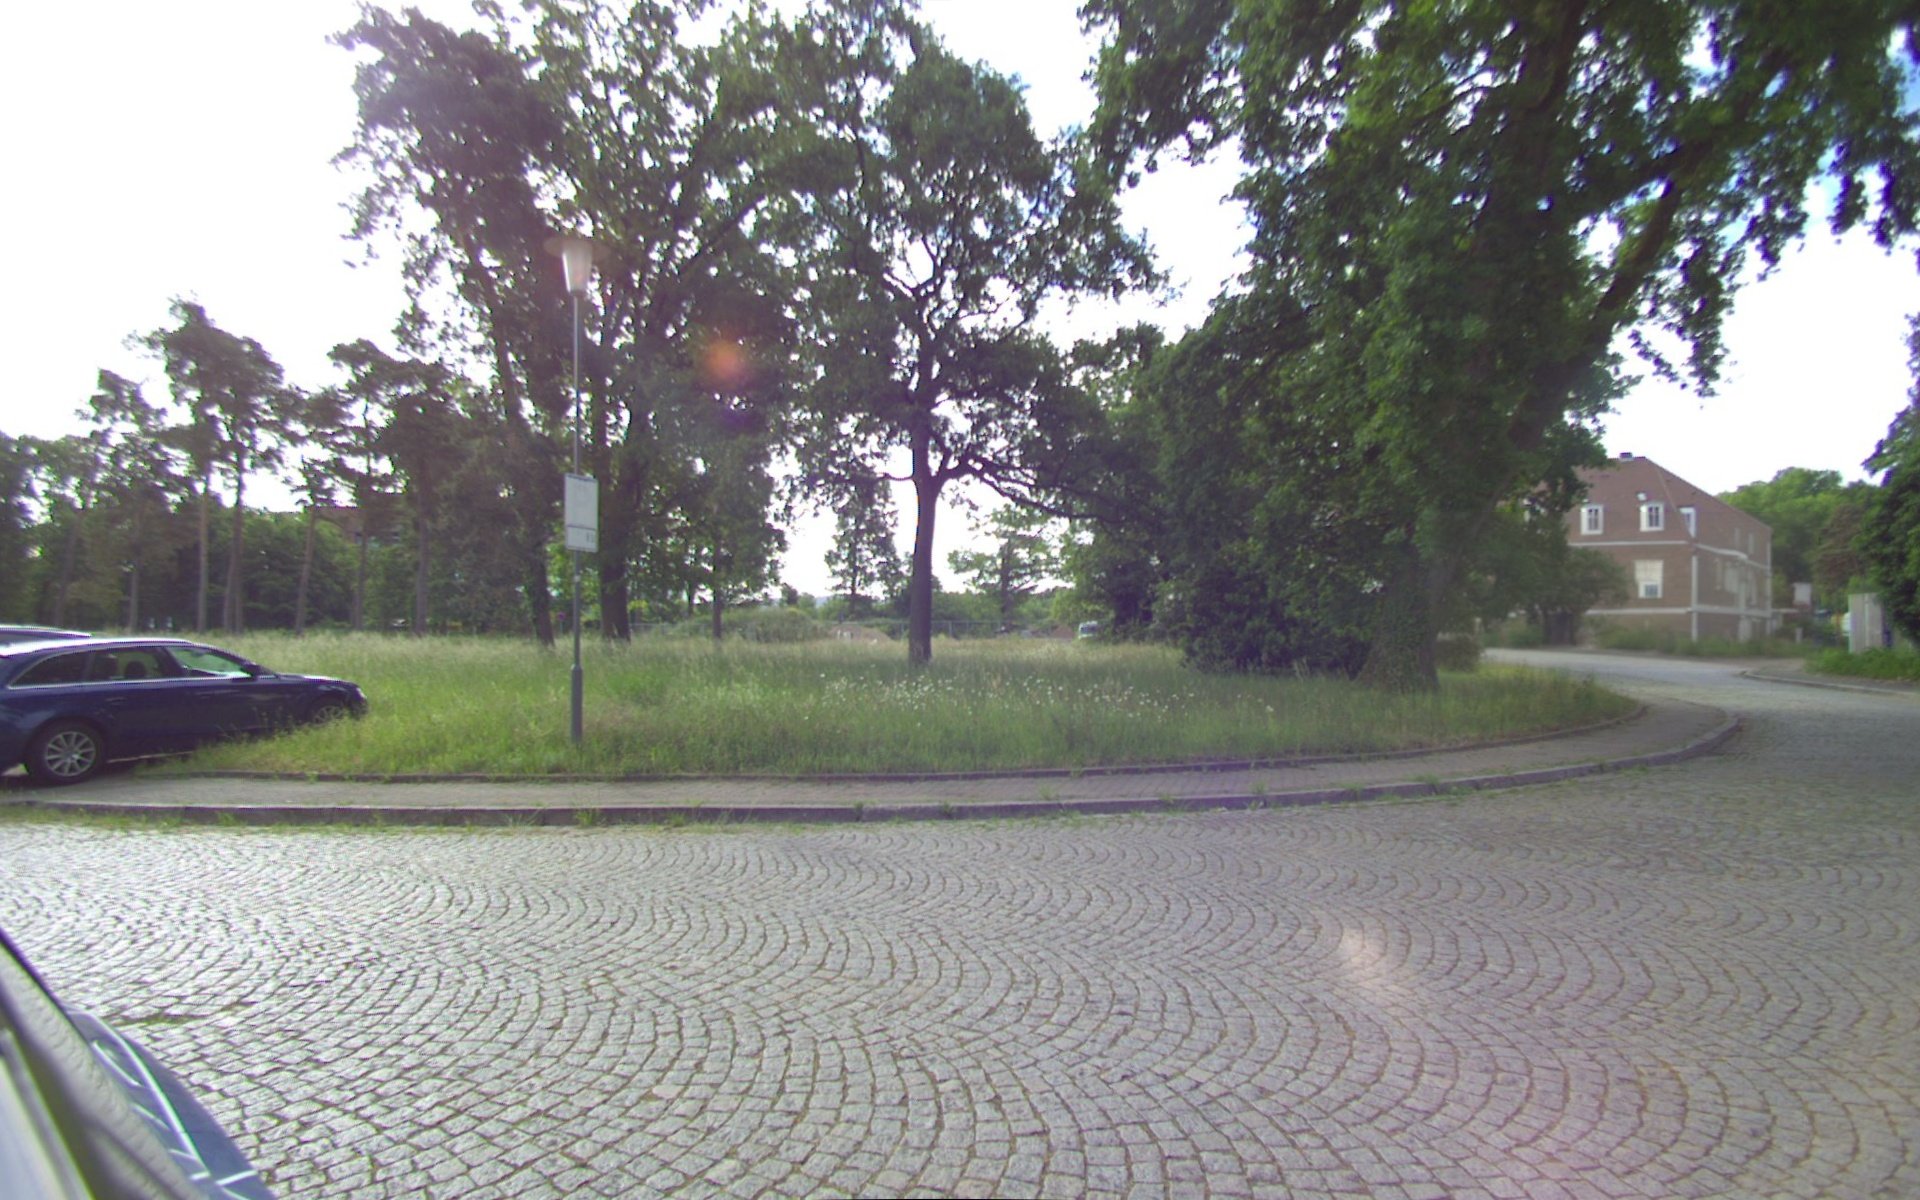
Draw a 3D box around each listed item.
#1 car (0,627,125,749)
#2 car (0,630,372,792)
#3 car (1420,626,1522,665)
[{"bbox_3d":[-13.689,1.159,13.106,1.775,1.585,4.127,0,-1,18],"label":"car"},{"bbox_3d":[-9.259,1.116,11.481,1.671,1.491,4.412,-1,-1,22],"label":"car"},{"bbox_3d":[32.151,2.829,63.869,5.490,2.224,2.113,0,1,20],"label":"car"}]
